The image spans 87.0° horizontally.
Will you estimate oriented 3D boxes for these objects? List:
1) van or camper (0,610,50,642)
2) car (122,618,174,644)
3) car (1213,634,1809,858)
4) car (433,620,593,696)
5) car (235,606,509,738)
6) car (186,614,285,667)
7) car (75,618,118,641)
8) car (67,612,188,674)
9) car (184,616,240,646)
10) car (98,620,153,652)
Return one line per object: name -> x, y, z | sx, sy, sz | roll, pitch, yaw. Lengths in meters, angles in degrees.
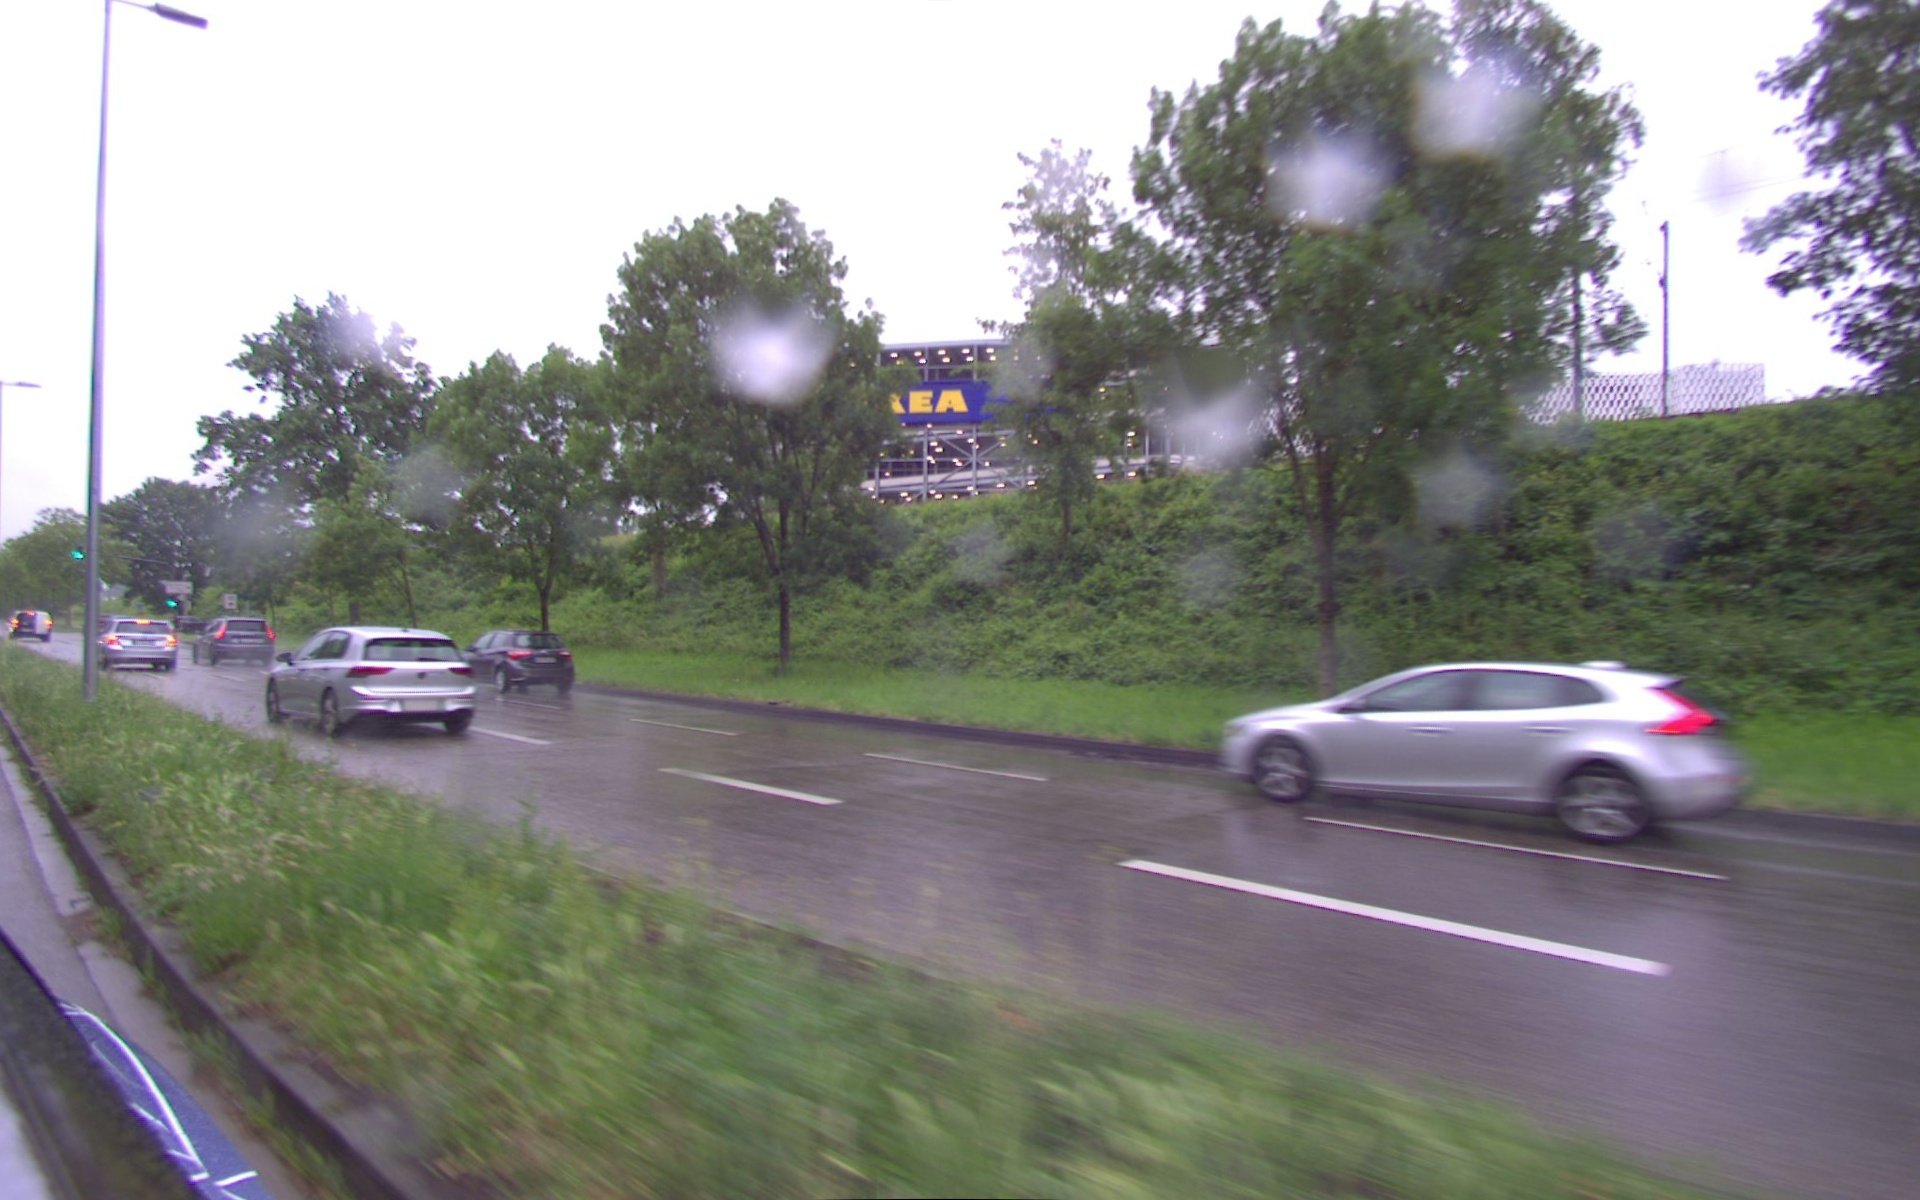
van or camper -> -54.142, 1.514, 58.581 | 4.000, 1.755, 1.709 | -1, -4, 43
car -> -51.614, 1.954, 64.302 | 4.478, 1.625, 1.877 | -1, -3, 43
car -> 4.741, 1.104, 9.211 | 4.441, 1.513, 1.814 | -2, -4, 45
car -> -11.118, 1.386, 25.001 | 4.711, 1.700, 1.971 | -2, -4, 45
car -> -8.468, 0.948, 14.386 | 4.706, 1.586, 1.889 | -1, -4, 41
car -> -25.292, 1.413, 35.254 | 4.711, 1.700, 1.971 | -2, -4, 45
car -> -64.501, 2.178, 75.585 | 4.713, 1.625, 1.877 | -1, -4, 44
car -> -24.210, 1.222, 29.387 | 4.108, 1.625, 1.879 | -1, -5, 40
car -> -45.640, 1.873, 61.714 | 4.711, 1.700, 1.971 | -2, -4, 45
car -> -44.944, 1.927, 54.469 | 1.876, 1.625, 4.114 | 5, -4, -44
